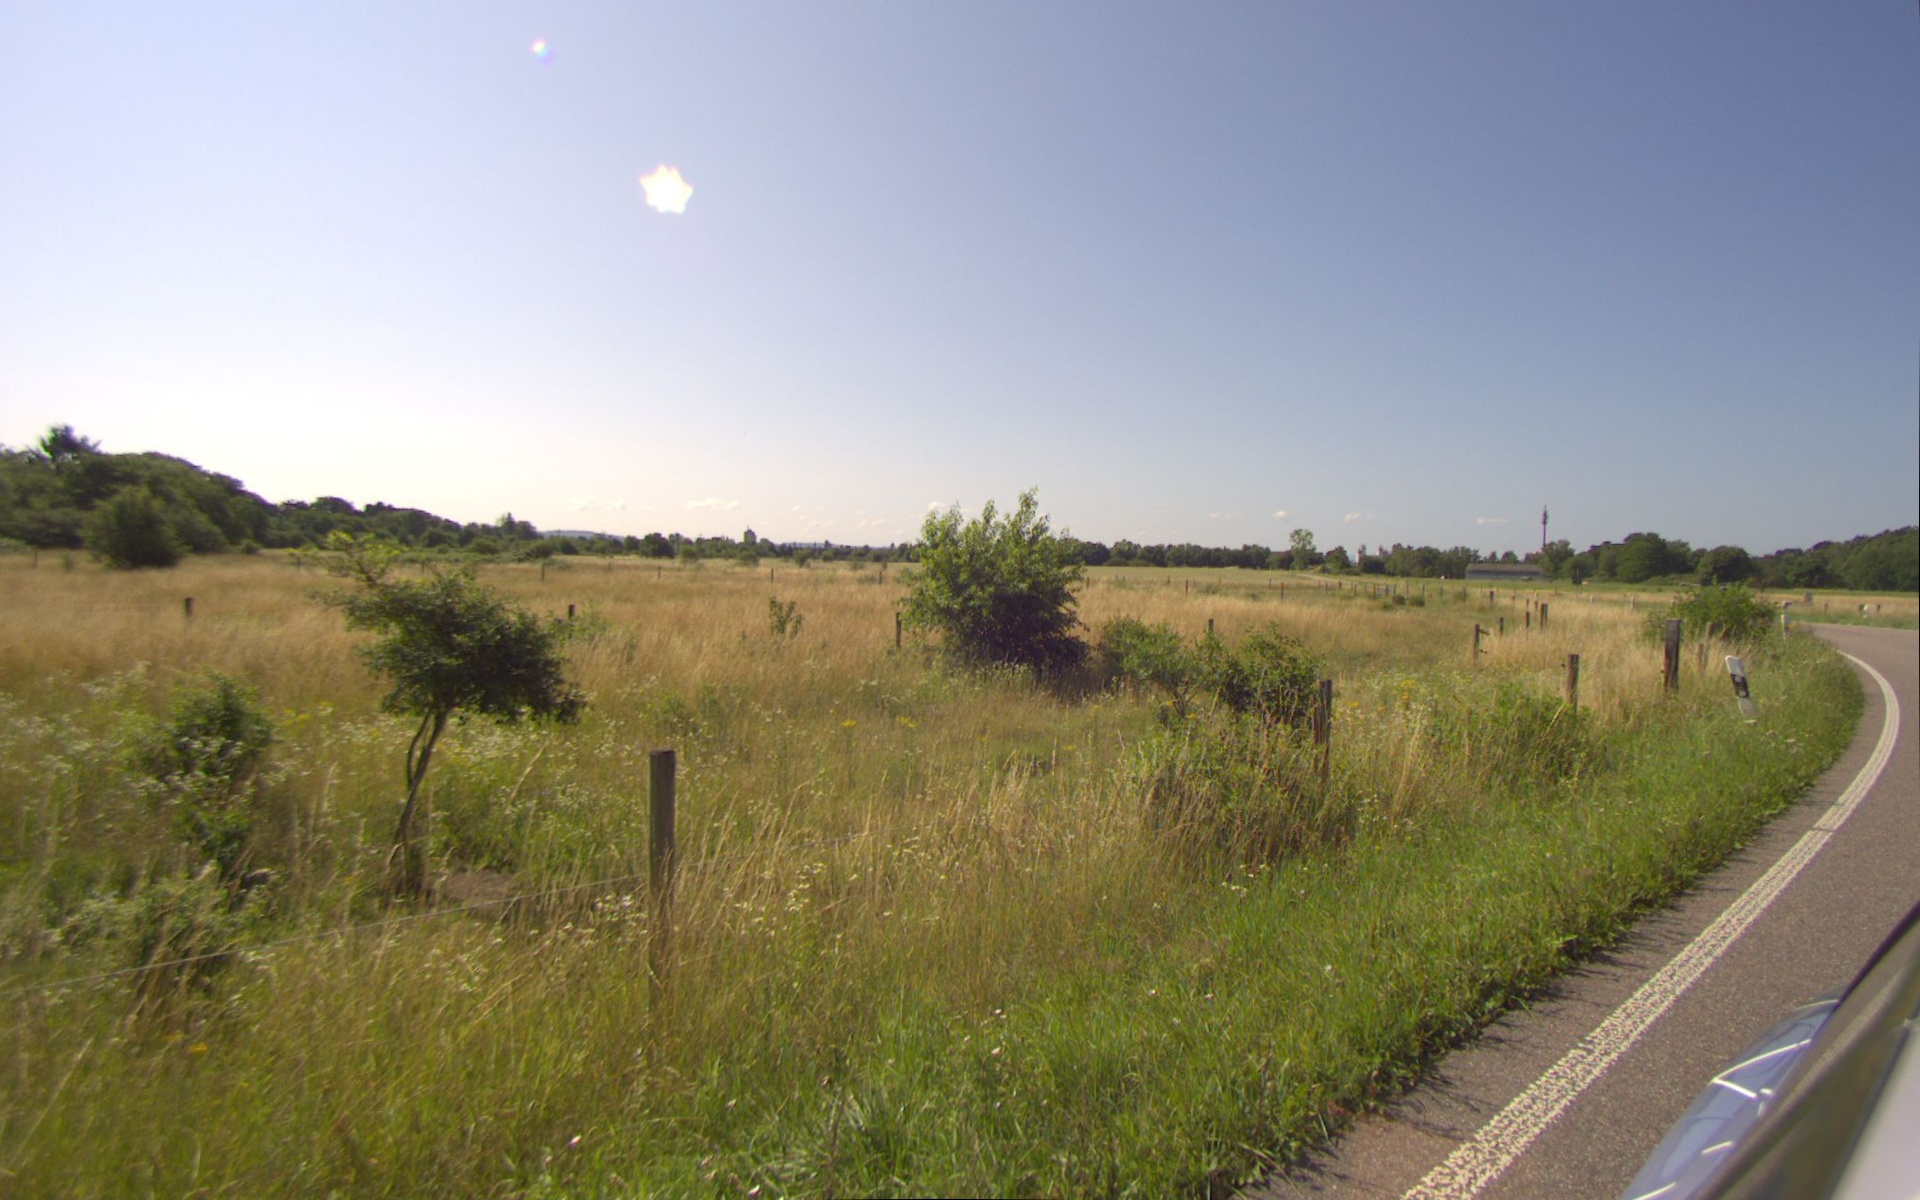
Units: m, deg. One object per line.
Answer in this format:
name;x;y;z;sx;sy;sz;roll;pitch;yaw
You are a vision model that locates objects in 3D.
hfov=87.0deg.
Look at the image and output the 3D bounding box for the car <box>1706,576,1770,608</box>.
car;44.977;-0.437;58.588;1.769;1.652;4.130;3;1;21
